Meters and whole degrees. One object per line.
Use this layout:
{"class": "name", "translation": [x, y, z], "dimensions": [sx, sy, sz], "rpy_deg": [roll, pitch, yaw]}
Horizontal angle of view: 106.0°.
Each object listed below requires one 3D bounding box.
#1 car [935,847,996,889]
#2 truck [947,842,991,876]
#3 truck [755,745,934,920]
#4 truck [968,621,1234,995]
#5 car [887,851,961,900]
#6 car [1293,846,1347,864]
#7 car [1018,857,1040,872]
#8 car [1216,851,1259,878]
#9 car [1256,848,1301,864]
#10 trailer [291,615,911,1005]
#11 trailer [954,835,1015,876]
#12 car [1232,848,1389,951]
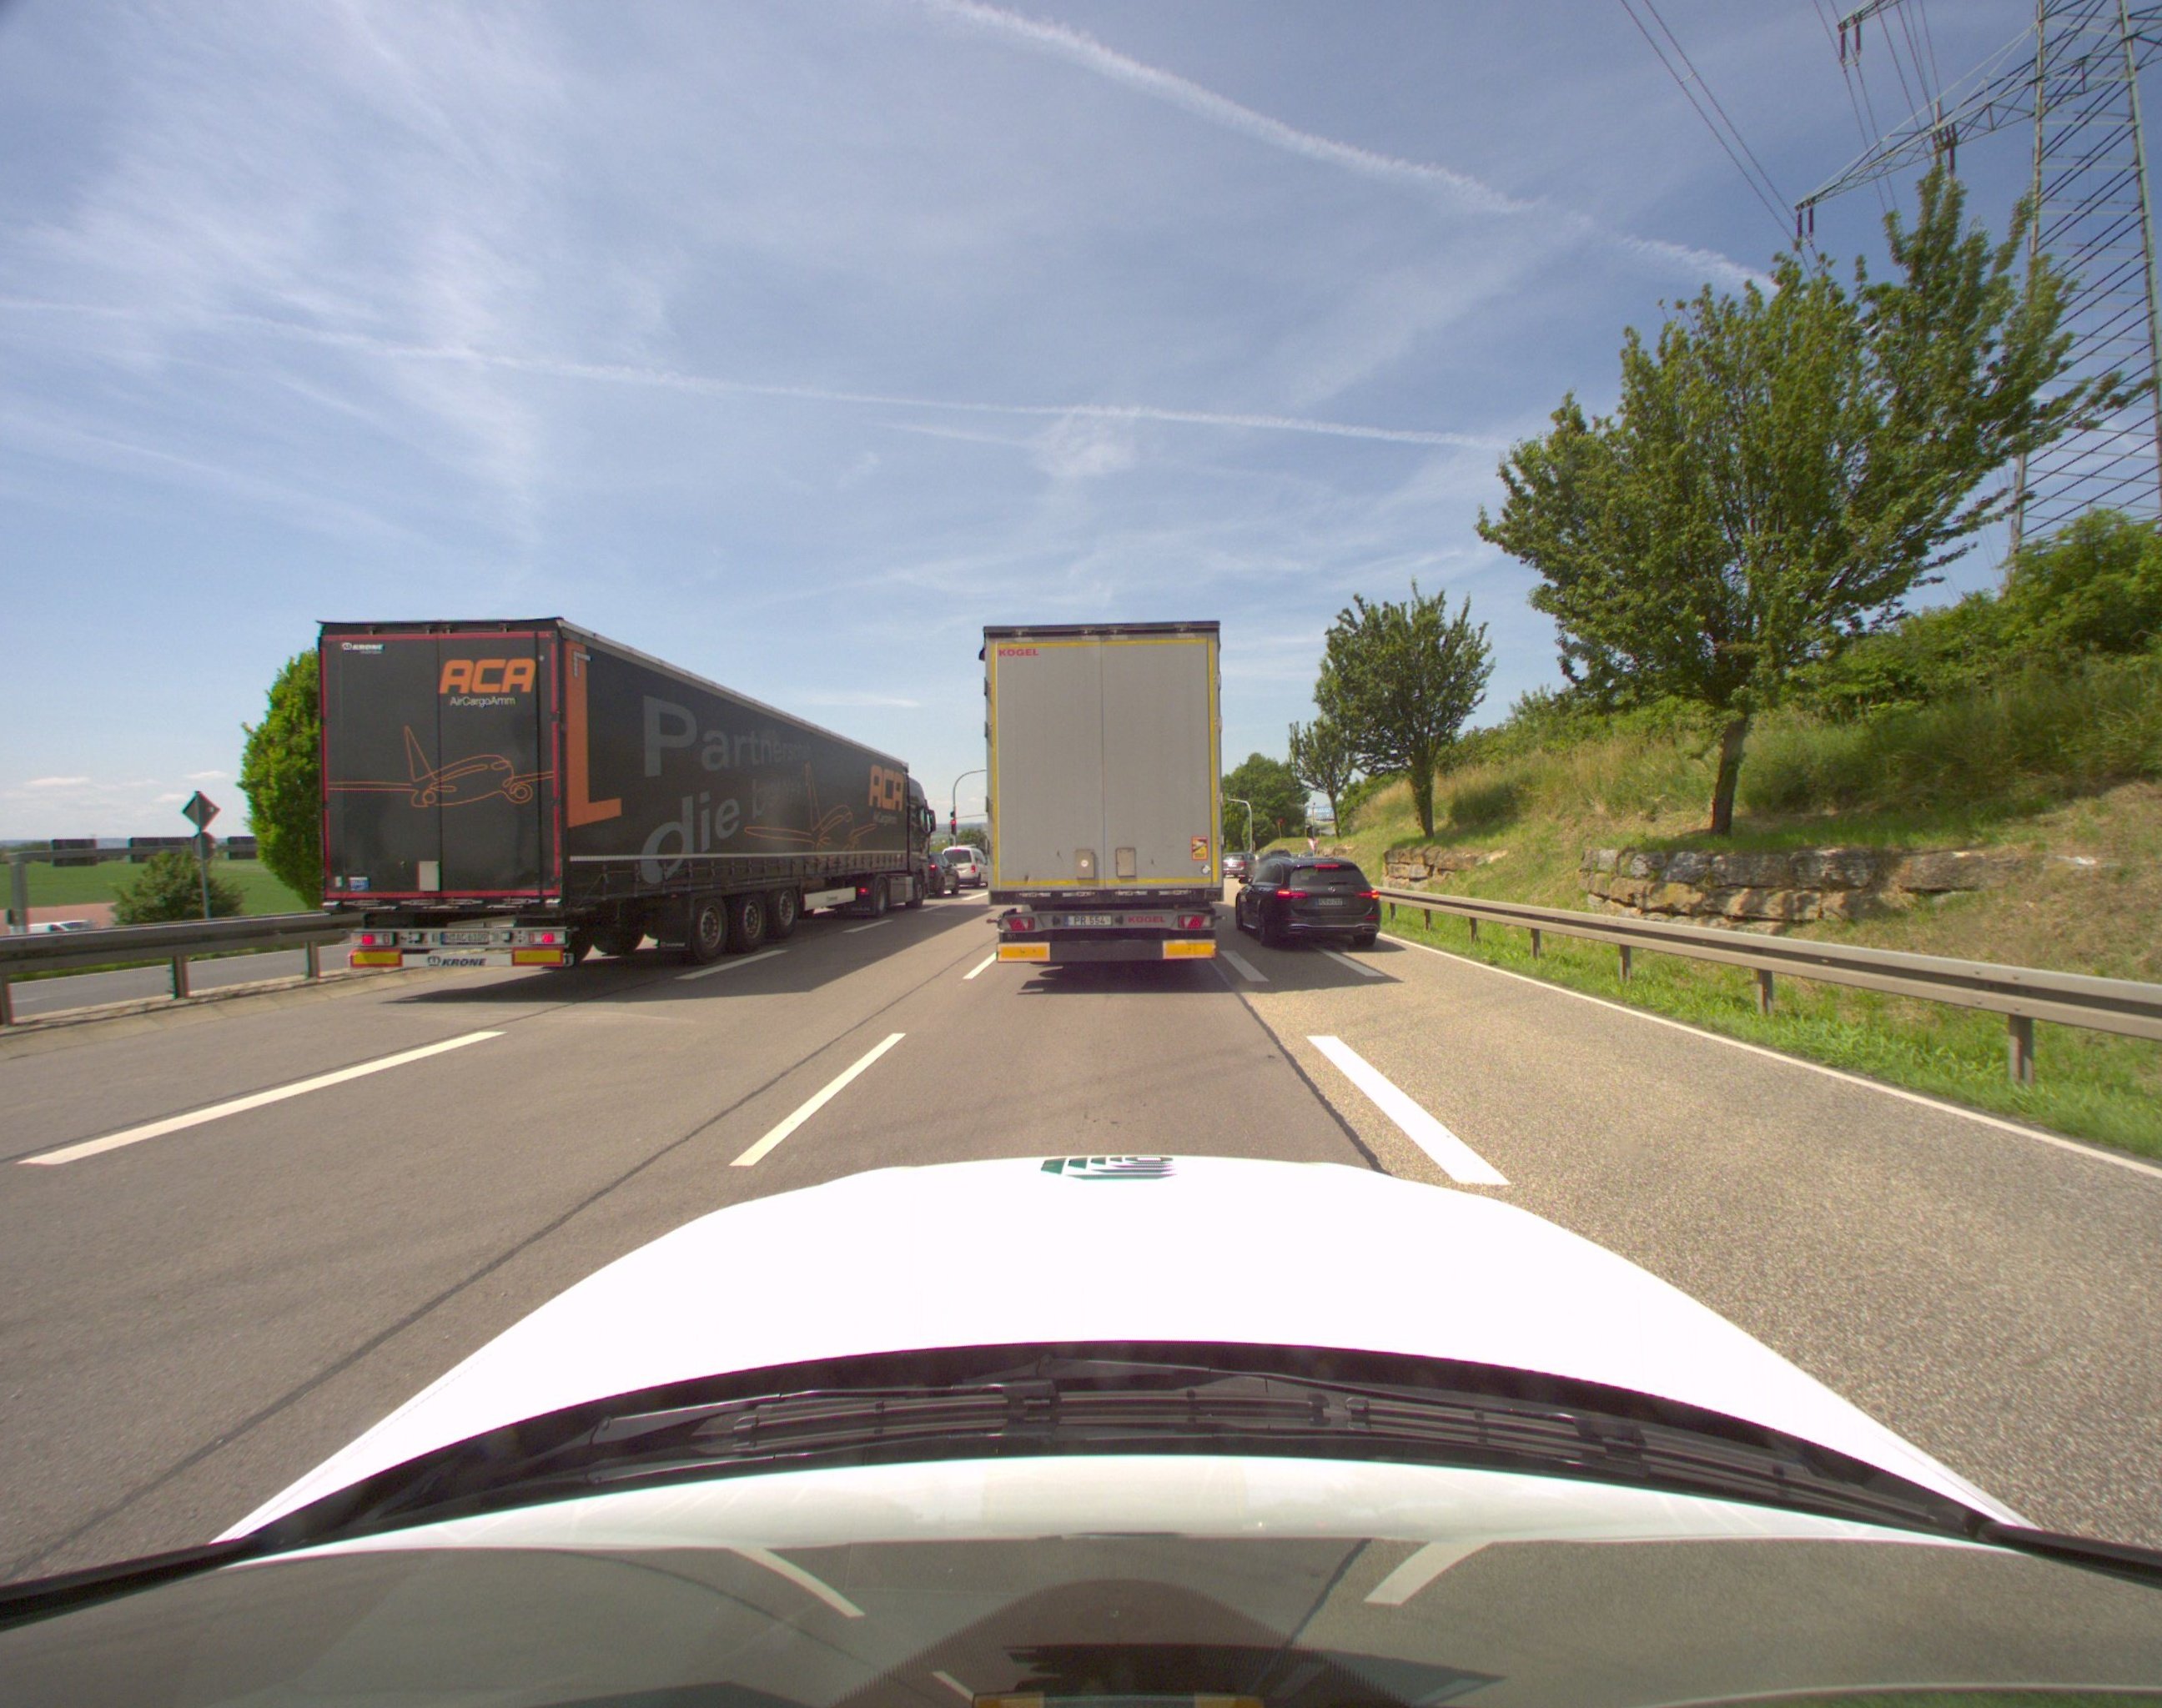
{"class": "car", "translation": [-5.313, 0.603, 37.933], "dimensions": [1.759, 1.798, 4.758], "rpy_deg": [0, 0, 5]}
{"class": "truck", "translation": [-10.453, 0.499, 76.715], "dimensions": [2.787, 3.013, 5.996], "rpy_deg": [-2, -1, 4]}
{"class": "truck", "translation": [-5.997, -0.489, 21.782], "dimensions": [2.772, 4.013, 5.975], "rpy_deg": [0, 0, 2]}
{"class": "truck", "translation": [0.409, -0.449, 14.272], "dimensions": [2.788, 3.929, 11.346], "rpy_deg": [0, 0, 2]}
{"class": "car", "translation": [-5.667, 0.719, 29.888], "dimensions": [1.850, 1.657, 4.348], "rpy_deg": [0, 0, 0]}
{"class": "car", "translation": [21.619, 0.135, 73.621], "dimensions": [4.355, 1.510, 1.711], "rpy_deg": [-1, -1, -8]}
{"class": "car", "translation": [-5.594, 1.108, 88.044], "dimensions": [1.729, 1.528, 4.005], "rpy_deg": [0, -1, 4]}
{"class": "car", "translation": [9.839, 0.637, 50.948], "dimensions": [1.780, 1.640, 4.022], "rpy_deg": [-1, -1, 24]}
{"class": "car", "translation": [19.373, 0.201, 80.076], "dimensions": [3.981, 1.510, 1.713], "rpy_deg": [-1, -1, -6]}
{"class": "trailer", "translation": [-6.297, -0.428, 15.100], "dimensions": [2.772, 3.913, 13.796], "rpy_deg": [0, 0, 3]}
{"class": "trailer", "translation": [-9.826, 0.217, 86.205], "dimensions": [2.627, 3.763, 19.821], "rpy_deg": [-2, -1, 4]}
{"class": "car", "translation": [3.839, 0.704, 14.390], "dimensions": [1.739, 1.532, 4.301], "rpy_deg": [0, -1, 3]}
